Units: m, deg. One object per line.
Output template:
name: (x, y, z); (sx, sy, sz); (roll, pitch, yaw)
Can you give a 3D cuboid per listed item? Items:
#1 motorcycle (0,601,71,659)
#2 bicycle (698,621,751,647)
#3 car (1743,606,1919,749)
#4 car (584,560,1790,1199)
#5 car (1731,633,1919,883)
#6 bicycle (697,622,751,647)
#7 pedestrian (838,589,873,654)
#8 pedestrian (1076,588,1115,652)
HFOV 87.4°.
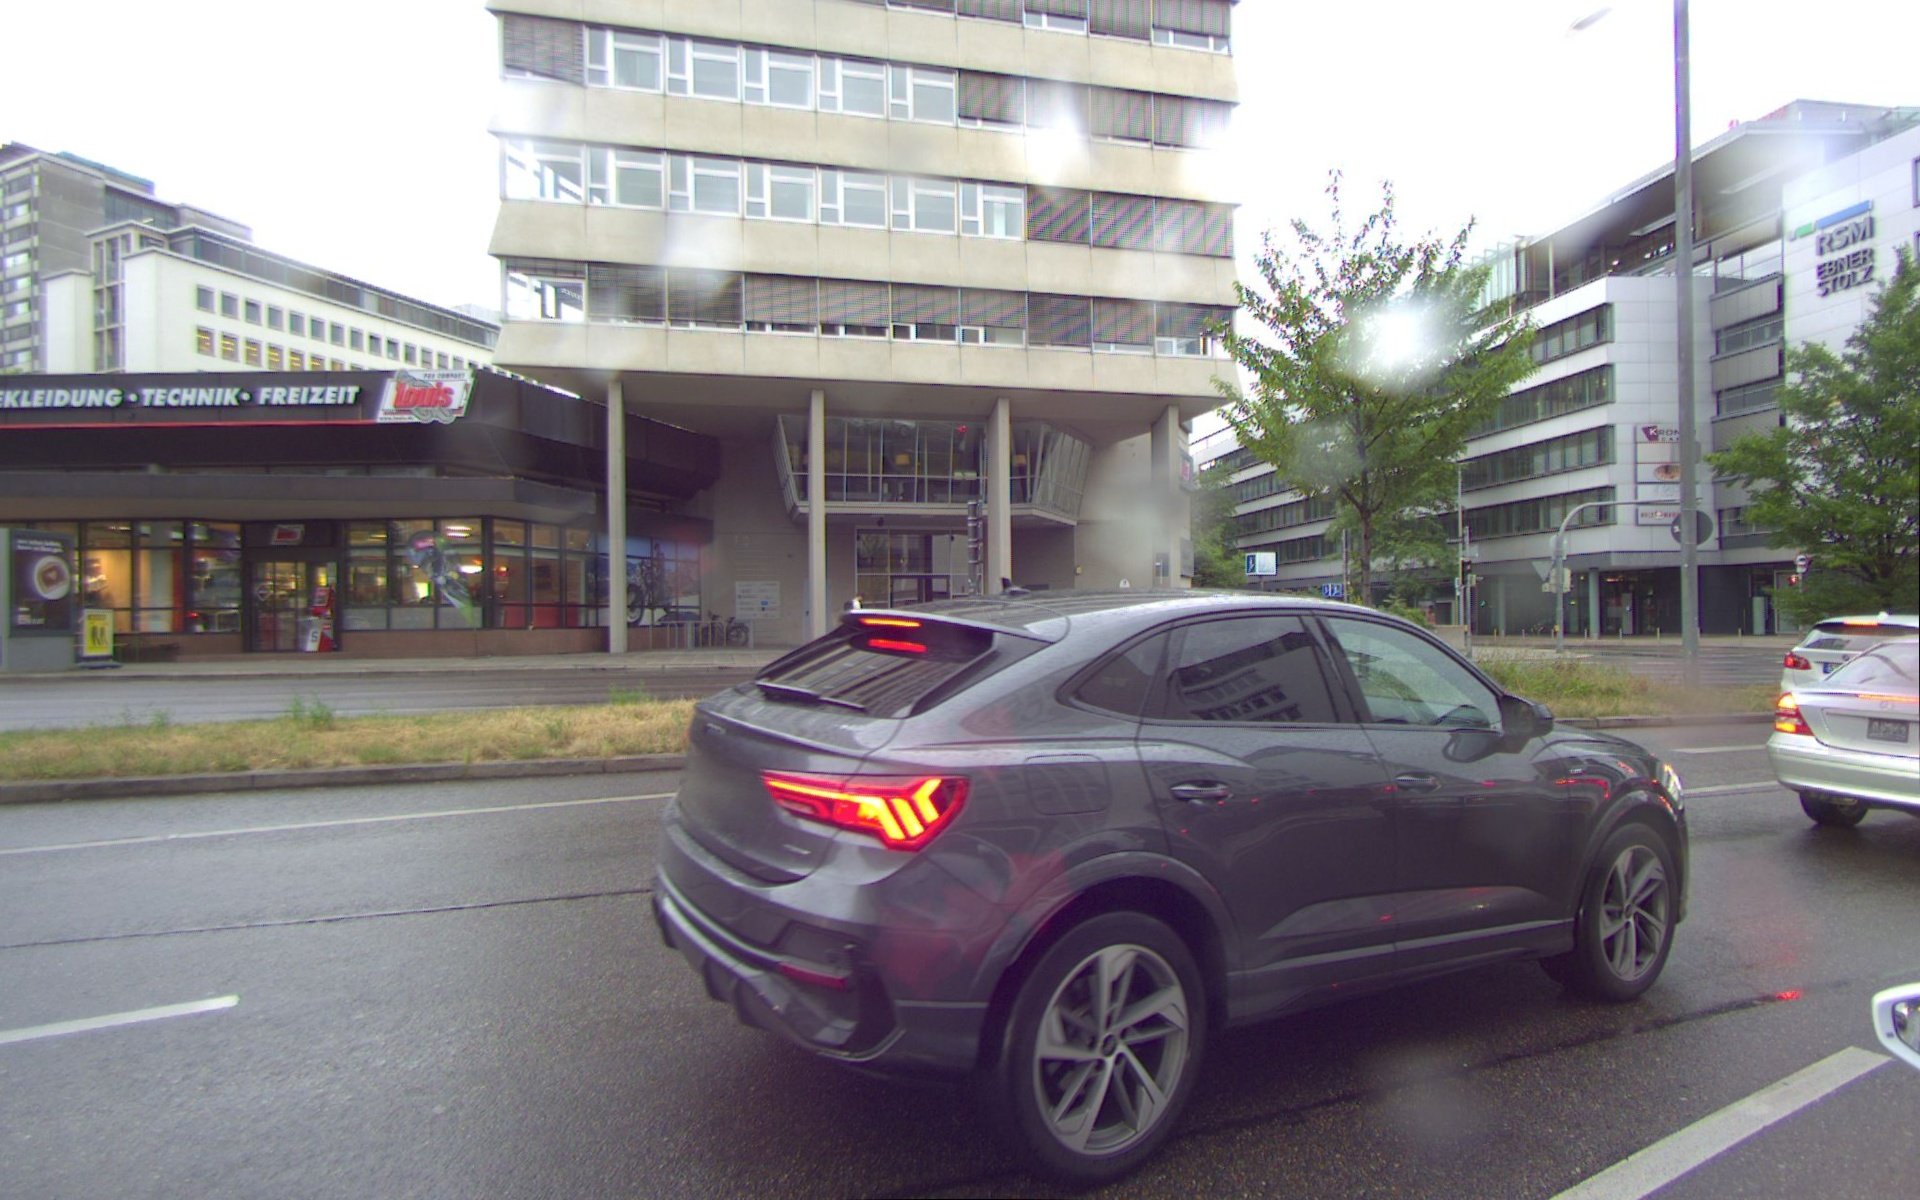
motorcycle: (-23.582, 0.731, 24.689); (0.788, 1.392, 2.893); (1, 0, 3)
bicycle: (-8.072, 1.165, 34.449); (1.743, 0.823, 0.454); (1, 0, -12)
car: (12.477, 0.917, 12.957); (3.937, 1.617, 1.883); (1, 0, -18)
car: (1.053, 0.697, 3.671); (4.242, 1.454, 1.925); (1, -1, -34)
car: (7.703, 1.010, 7.201); (4.137, 1.505, 1.678); (1, -1, -23)
bicycle: (-7.959, 1.163, 33.870); (1.743, 0.823, 0.454); (1, 0, -12)
pedestrian: (-3.005, 0.615, 28.784); (0.909, 1.857, 0.817); (1, 0, -14)
pedestrian: (4.007, 0.600, 29.697); (0.909, 1.857, 0.727); (1, -1, -14)
